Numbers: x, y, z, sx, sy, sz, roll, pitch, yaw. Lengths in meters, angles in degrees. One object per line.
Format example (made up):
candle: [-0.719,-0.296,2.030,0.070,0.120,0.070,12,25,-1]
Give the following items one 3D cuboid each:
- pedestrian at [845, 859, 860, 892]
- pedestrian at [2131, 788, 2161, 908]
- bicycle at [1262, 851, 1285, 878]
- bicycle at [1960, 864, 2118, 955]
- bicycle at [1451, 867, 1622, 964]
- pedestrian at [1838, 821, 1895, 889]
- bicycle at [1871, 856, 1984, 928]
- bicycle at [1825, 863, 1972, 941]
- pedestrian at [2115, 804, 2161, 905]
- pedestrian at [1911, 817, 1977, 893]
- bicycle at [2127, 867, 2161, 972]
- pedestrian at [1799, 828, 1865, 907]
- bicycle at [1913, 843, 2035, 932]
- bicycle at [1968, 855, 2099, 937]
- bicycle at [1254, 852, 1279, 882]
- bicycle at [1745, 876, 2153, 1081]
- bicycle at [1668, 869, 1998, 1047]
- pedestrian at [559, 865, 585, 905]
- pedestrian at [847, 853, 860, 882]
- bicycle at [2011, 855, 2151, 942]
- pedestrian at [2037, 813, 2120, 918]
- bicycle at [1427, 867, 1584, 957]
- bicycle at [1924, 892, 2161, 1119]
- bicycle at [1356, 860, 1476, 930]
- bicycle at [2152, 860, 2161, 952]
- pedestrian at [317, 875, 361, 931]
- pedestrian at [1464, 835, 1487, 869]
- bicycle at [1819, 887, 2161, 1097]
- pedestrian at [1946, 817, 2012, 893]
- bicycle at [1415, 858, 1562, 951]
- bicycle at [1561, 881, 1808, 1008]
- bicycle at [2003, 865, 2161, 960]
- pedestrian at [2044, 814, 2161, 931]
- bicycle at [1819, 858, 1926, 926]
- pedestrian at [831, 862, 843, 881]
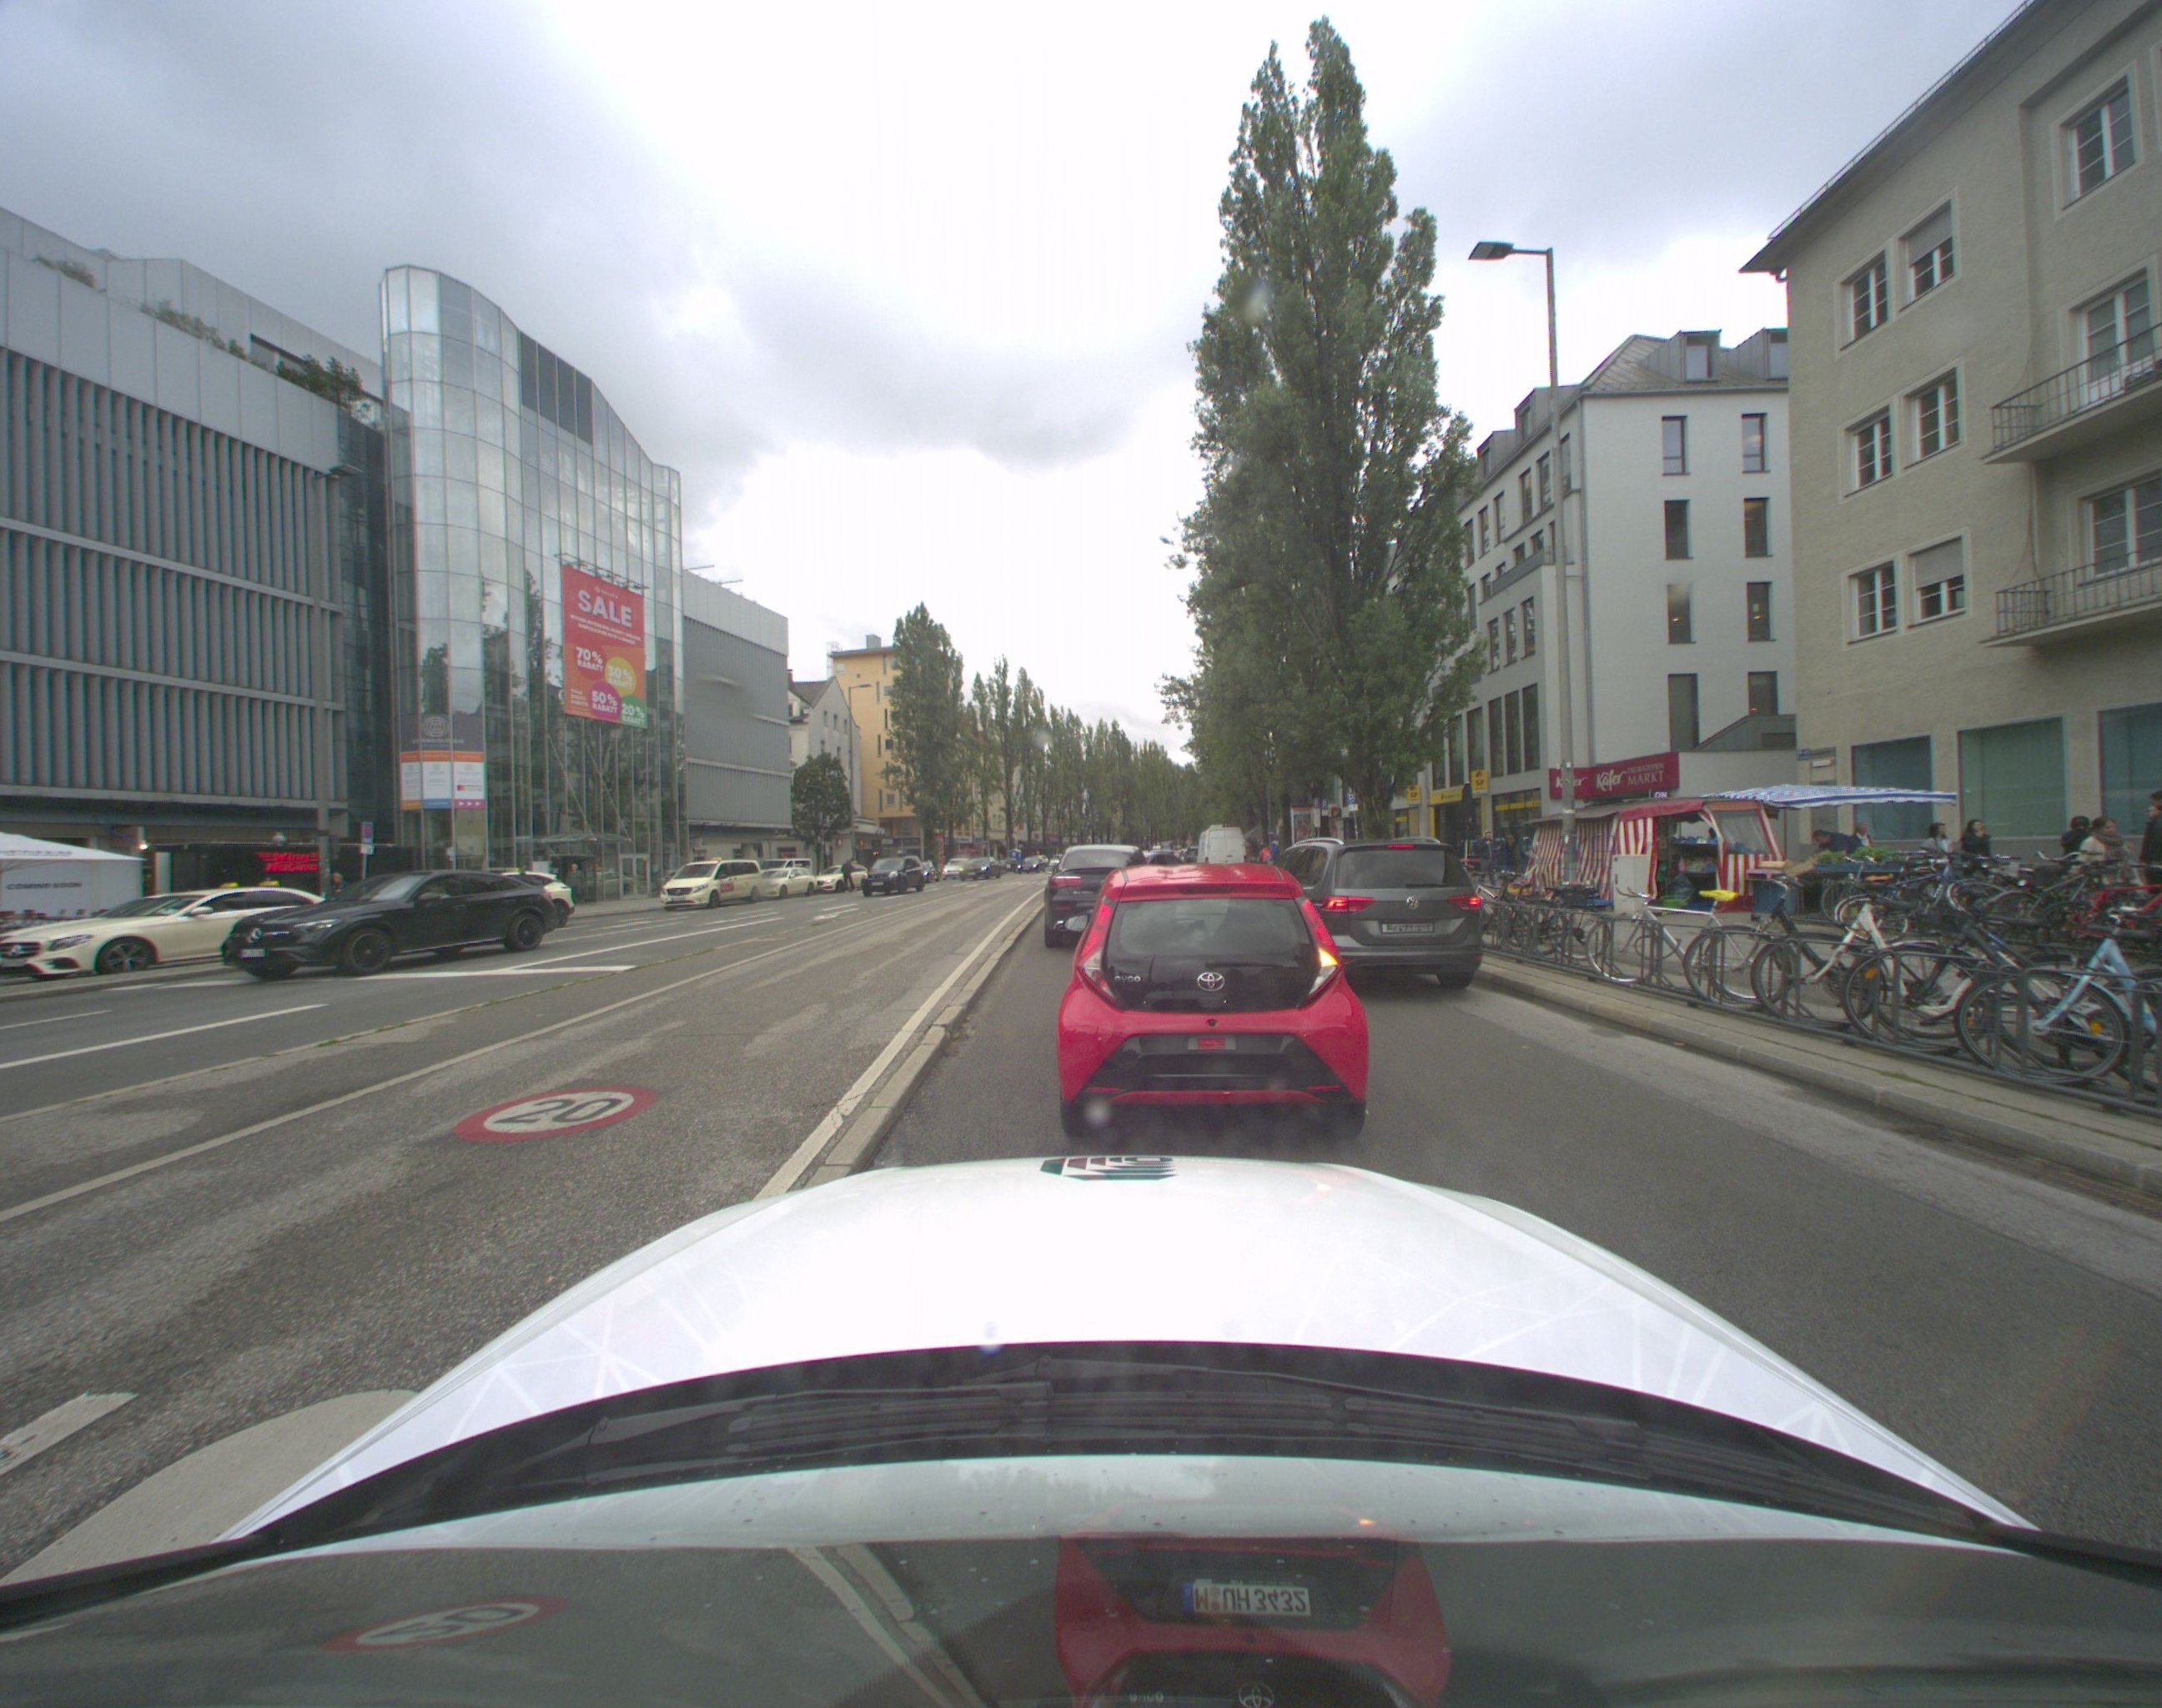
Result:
pedestrian: [-11.947,1.108,42.662,0.695,1.697,0.621,-2,0,-16]
pedestrian: [15.451,-0.093,11.474,0.594,1.669,0.690,-2,0,36]
bicycle: [9.485,0.494,40.191,0.611,1.265,2.520,-2,0,2]
bicycle: [10.805,0.617,9.201,1.255,0.963,0.369,-2,0,3]
bicycle: [5.849,0.755,10.529,1.815,1.136,0.590,-2,0,43]
pedestrian: [16.703,0.022,17.324,0.596,1.402,0.580,-2,0,1]
bicycle: [12.201,0.539,11.749,1.240,0.963,0.369,-2,0,-1]
bicycle: [10.710,0.622,10.692,1.424,0.963,0.370,-2,0,6]
pedestrian: [15.937,0.001,12.140,0.501,1.484,0.468,-2,0,36]
pedestrian: [16.448,0.020,15.533,0.596,1.402,0.580,-2,0,1]
bicycle: [10.754,0.613,7.914,1.229,0.963,0.366,-2,0,-21]
pedestrian: [14.022,0.245,15.220,0.613,1.425,0.660,-2,0,6]
bicycle: [12.104,0.451,11.048,1.240,1.140,0.369,-2,0,-1]
bicycle: [12.193,0.532,10.433,1.240,0.981,0.369,-2,0,-1]
bicycle: [8.370,0.576,36.812,0.611,1.265,2.520,-2,0,2]
bicycle: [5.764,0.749,5.581,1.815,1.168,0.590,-2,0,43]
bicycle: [5.776,0.731,6.389,1.815,1.197,0.590,-2,0,43]
pedestrian: [-22.440,1.354,35.920,0.647,1.722,0.673,0,0,11]
pedestrian: [-14.575,0.884,52.217,0.553,1.817,0.630,-2,0,12]
bicycle: [12.091,0.532,9.858,1.240,0.981,0.369,-2,0,-1]
pedestrian: [14.761,0.165,12.067,0.573,1.505,0.620,-2,0,32]
bicycle: [5.845,0.762,11.291,1.815,1.136,0.590,-2,0,43]
bicycle: [5.748,0.782,4.279,1.782,1.111,0.590,-2,0,43]
bicycle: [5.829,0.704,14.218,1.814,1.136,0.590,-2,0,37]
bicycle: [12.192,0.533,8.678,1.243,0.981,0.368,-2,0,-8]
pedestrian: [-22.948,1.502,25.191,0.646,1.691,0.714,-2,0,13]
pedestrian: [18.378,-0.082,37.913,0.710,1.558,0.676,-2,0,1]
bicycle: [5.737,0.780,4.979,1.782,1.111,0.494,-2,0,43]
pedestrian: [17.076,0.021,15.502,0.573,1.402,0.580,-2,0,1]
bicycle: [5.947,0.708,11.957,1.815,1.241,0.590,-2,0,43]
bicycle: [5.717,0.801,7.798,1.815,1.052,0.590,-2,0,43]
bicycle: [10.802,0.622,8.718,1.253,0.963,0.370,-2,0,10]
pedestrian: [13.968,0.238,11.140,0.801,1.522,0.805,-2,0,34]
bicycle: [11.905,0.561,12.263,1.240,0.963,0.369,-2,0,-1]
pedestrian: [-17.664,1.261,59.002,0.553,1.290,0.630,-2,0,12]
